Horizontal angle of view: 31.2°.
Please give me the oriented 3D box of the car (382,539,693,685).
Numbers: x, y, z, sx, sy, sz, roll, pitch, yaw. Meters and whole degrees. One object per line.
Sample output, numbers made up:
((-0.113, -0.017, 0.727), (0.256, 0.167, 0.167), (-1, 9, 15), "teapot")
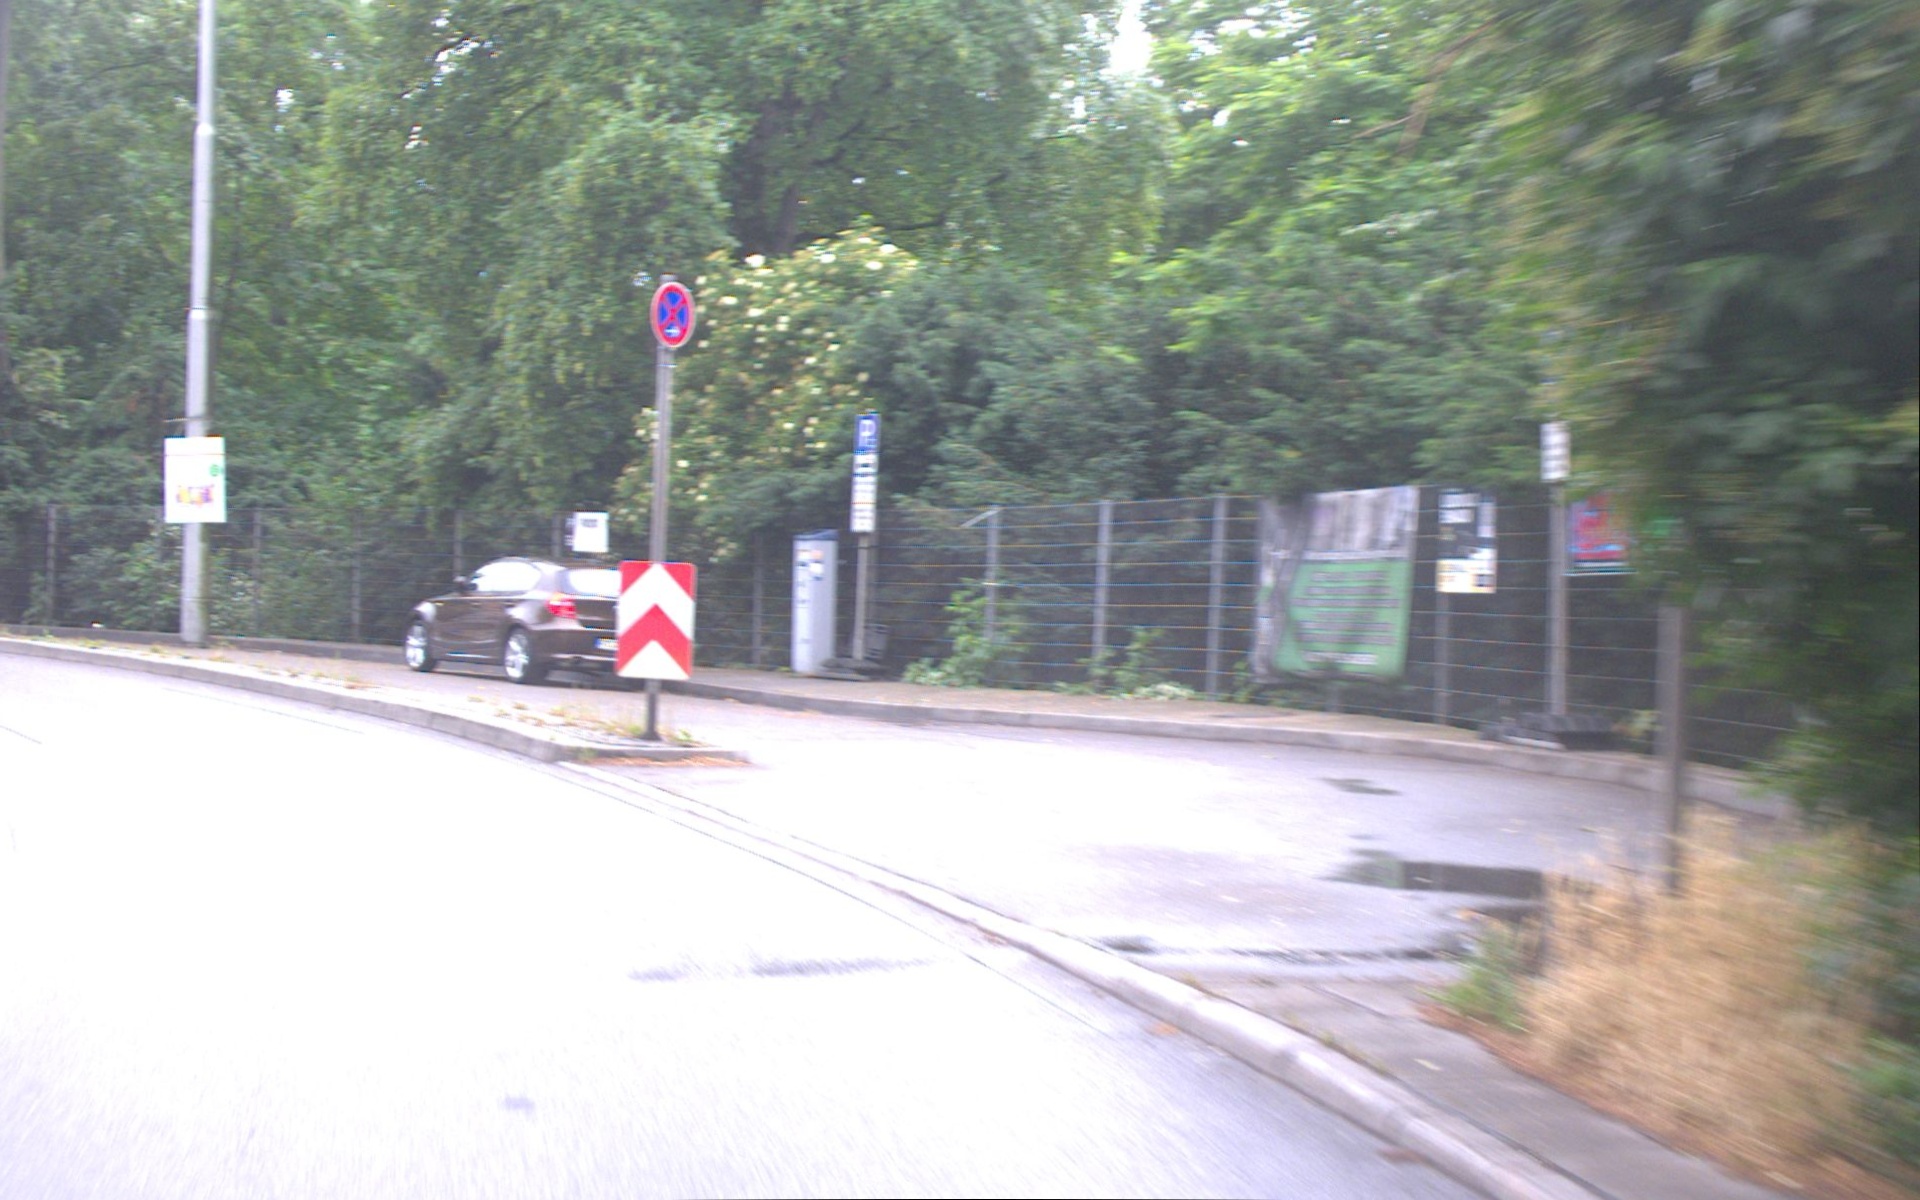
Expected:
((-4.884, 0.110, 39.231), (1.687, 1.422, 4.371), (4, 0, -33), "car")
